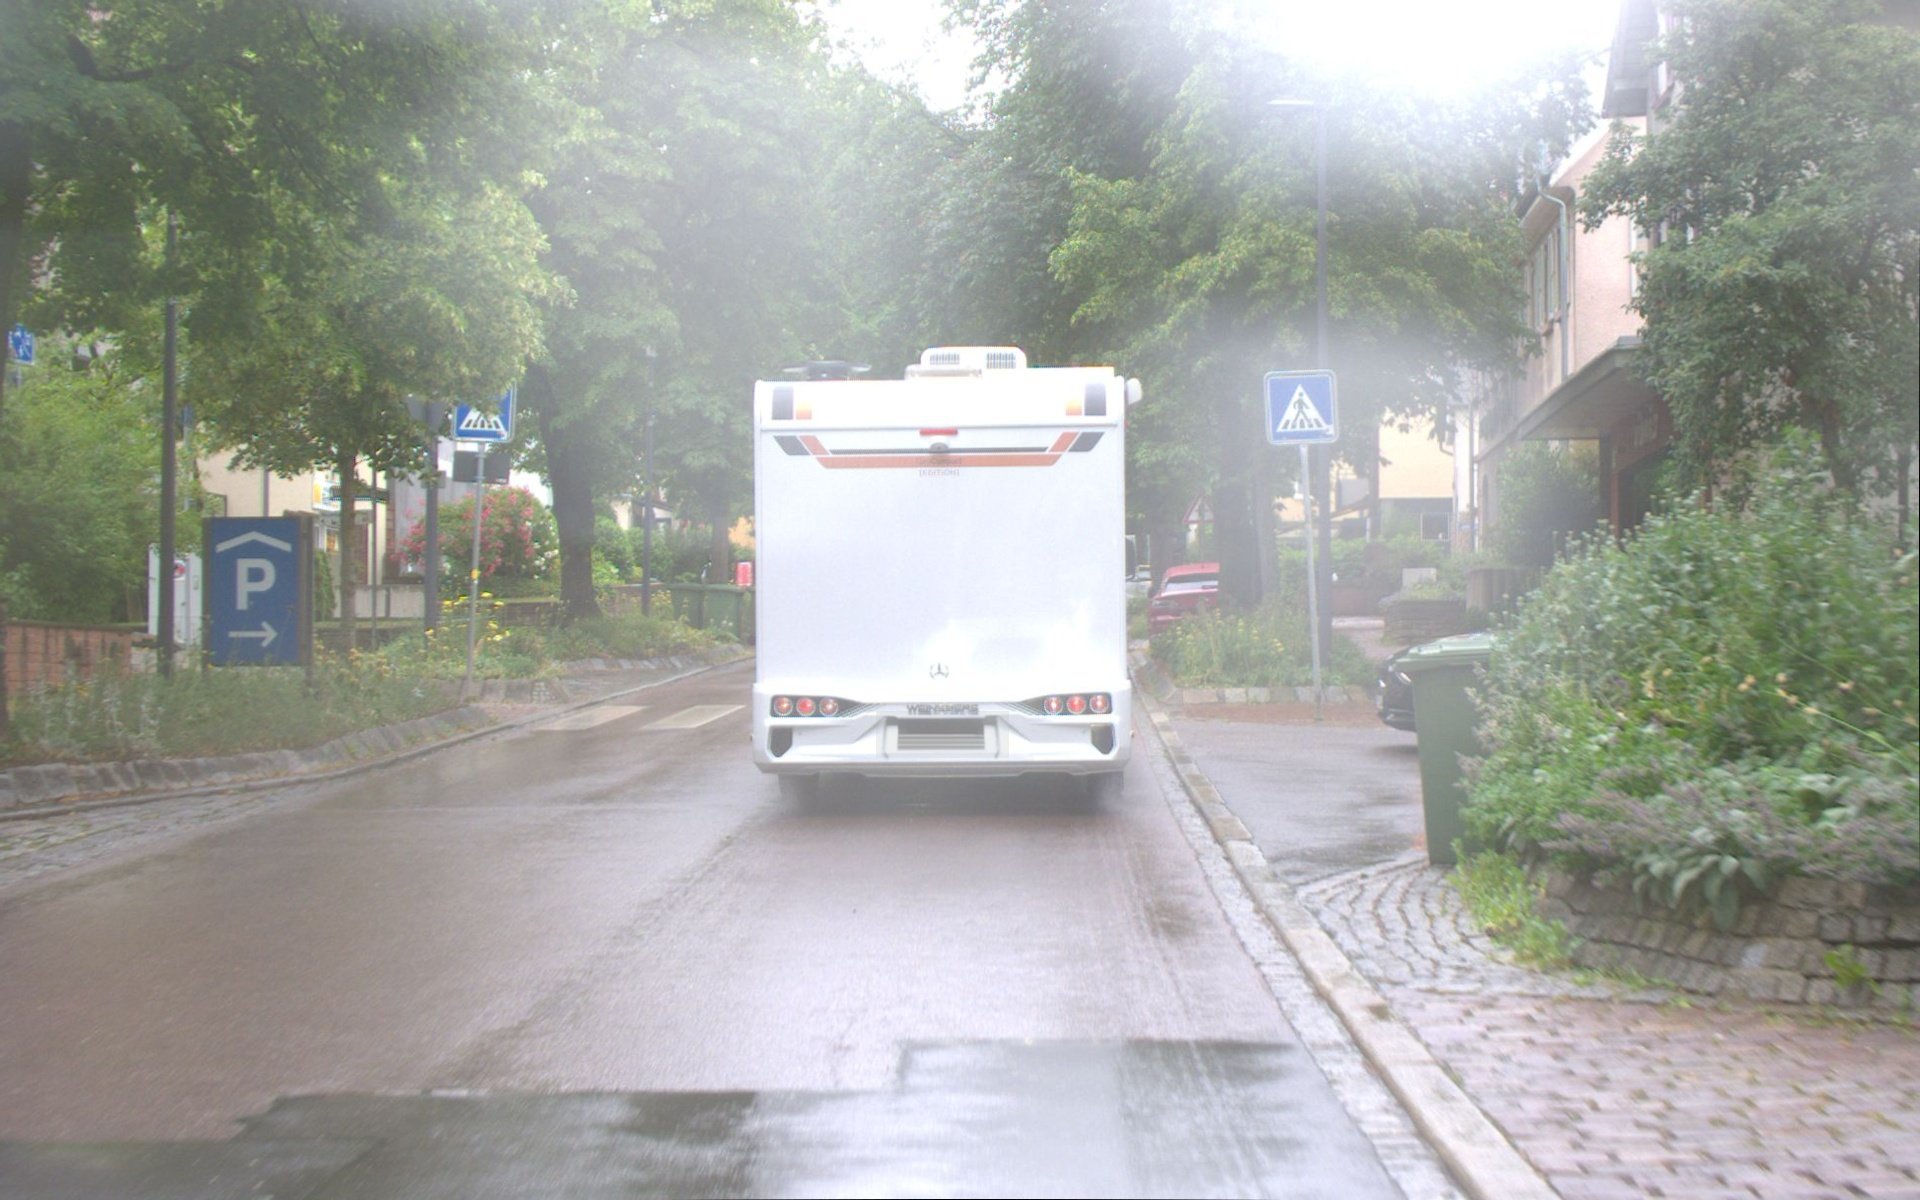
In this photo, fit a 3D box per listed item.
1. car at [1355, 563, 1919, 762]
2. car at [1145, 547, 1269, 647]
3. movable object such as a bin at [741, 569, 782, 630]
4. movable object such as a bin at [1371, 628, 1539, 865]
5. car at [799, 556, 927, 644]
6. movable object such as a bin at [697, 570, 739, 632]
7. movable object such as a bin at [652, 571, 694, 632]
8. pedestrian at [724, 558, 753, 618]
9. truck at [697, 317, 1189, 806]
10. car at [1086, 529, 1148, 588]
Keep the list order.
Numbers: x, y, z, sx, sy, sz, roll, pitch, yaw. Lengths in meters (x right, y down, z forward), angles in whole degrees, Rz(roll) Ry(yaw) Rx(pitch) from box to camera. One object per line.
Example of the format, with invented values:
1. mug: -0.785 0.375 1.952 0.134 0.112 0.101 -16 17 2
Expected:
1. car: 5.360 0.469 27.092 4.283 1.412 1.840 1 1 1
2. car: 3.946 -0.087 54.621 1.855 1.467 4.364 1 1 5
3. movable object such as a bin: -3.543 -0.006 61.495 0.670 1.091 0.817 0 0 1
4. movable object such as a bin: 2.402 0.701 16.646 0.704 1.120 0.571 -1 0 18
5. car: -1.633 -0.030 59.329 1.855 1.380 4.408 2 1 3
6. movable object such as a bin: -4.326 0.017 61.497 0.670 1.101 0.817 0 0 1
7. movable object such as a bin: -5.183 0.030 62.087 0.670 1.101 0.817 0 0 1
8. pedestrian: -6.792 -0.365 105.317 0.817 1.838 0.770 0 0 1
9. truck: -0.025 -0.208 22.935 2.806 2.787 6.106 -1 0 1
10. car: 4.314 -1.132 94.526 1.649 1.536 3.530 -1 0 2
